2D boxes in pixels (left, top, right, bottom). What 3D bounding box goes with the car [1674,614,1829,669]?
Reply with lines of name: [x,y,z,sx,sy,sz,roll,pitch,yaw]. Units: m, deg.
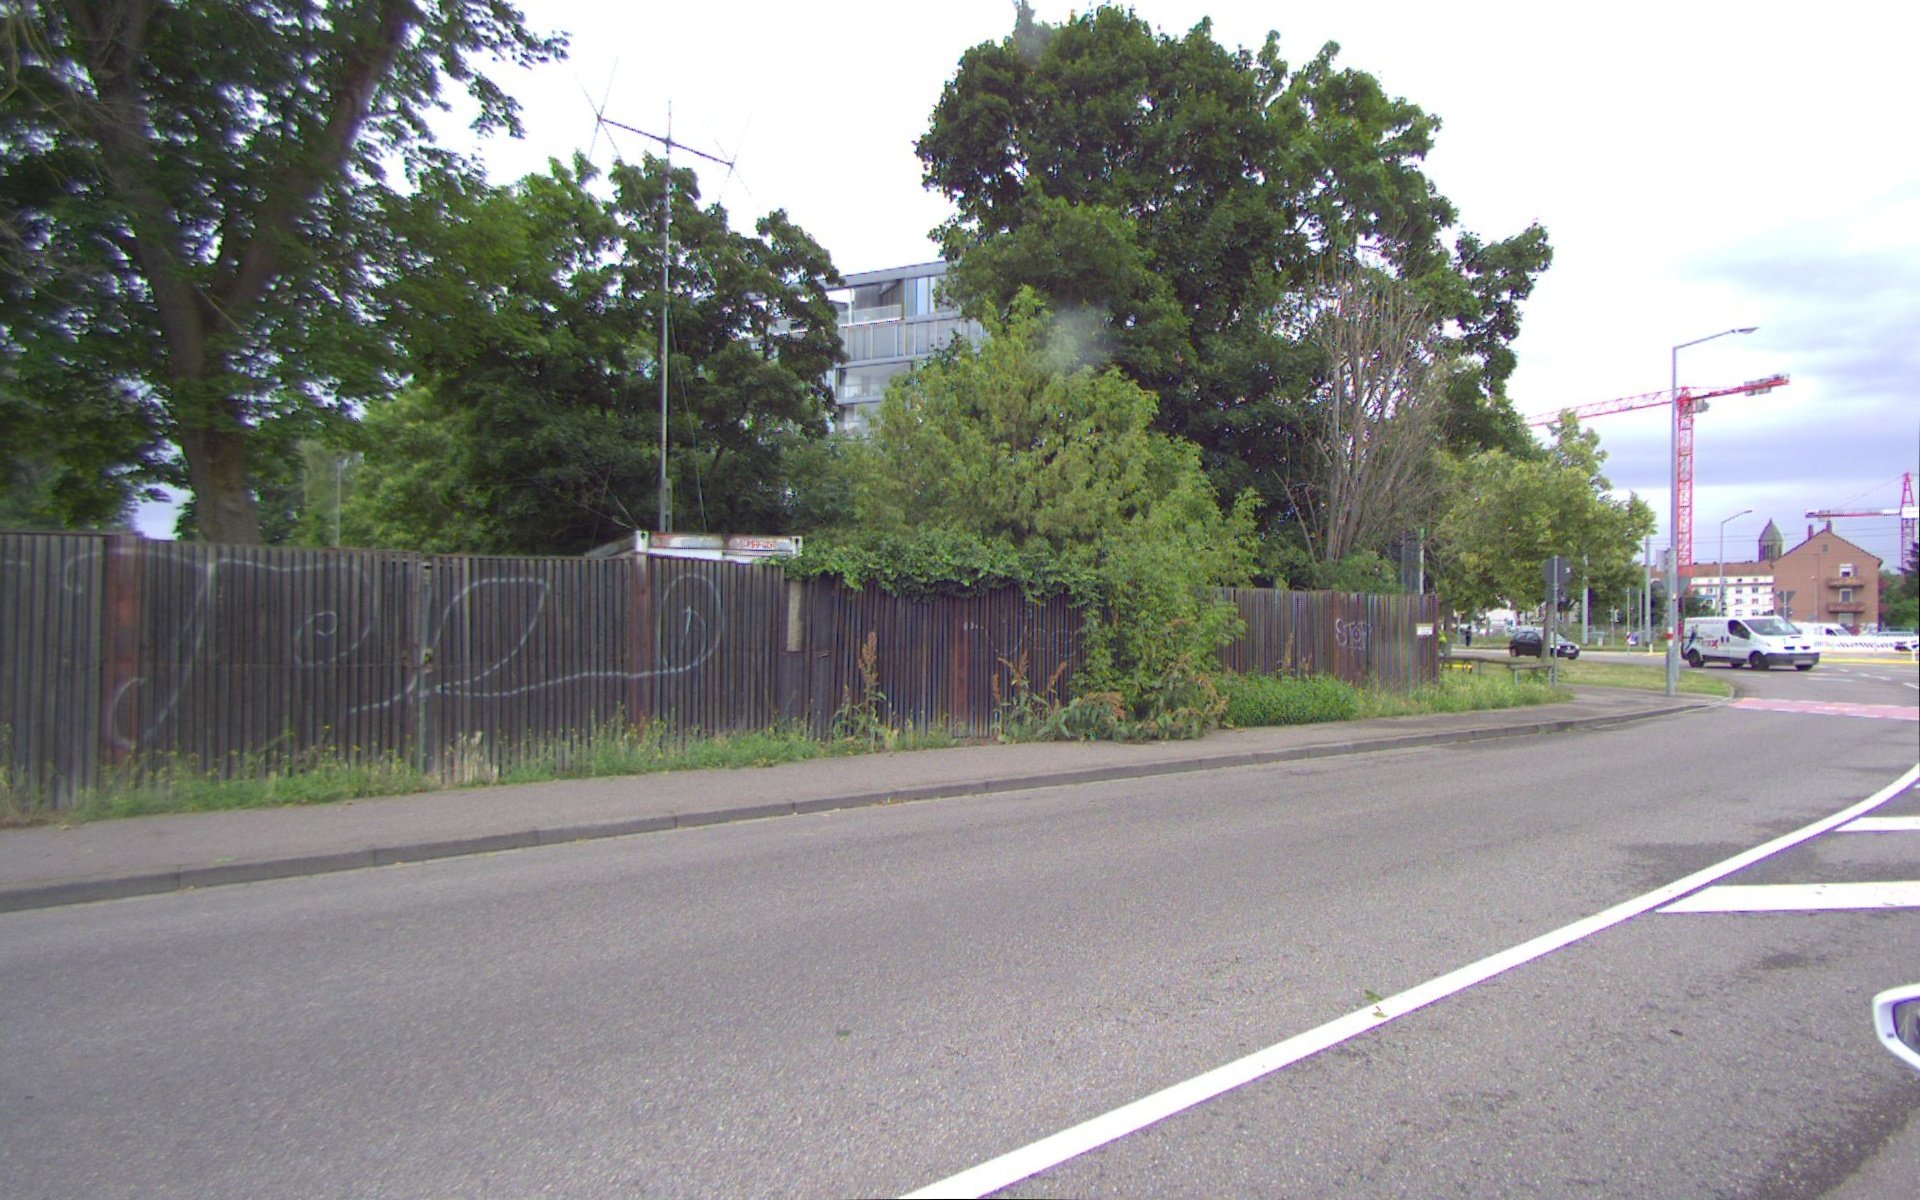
car: [29.755,1.513,38.014,2.057,1.925,4.849,0,-1,0]

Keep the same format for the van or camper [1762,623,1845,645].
van or camper: [82.727,3.290,98.655,1.969,2.040,6.171,1,-1,-19]

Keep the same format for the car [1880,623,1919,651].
car: [59.011,2.236,60.751,4.580,1.656,2.001,0,-1,10]

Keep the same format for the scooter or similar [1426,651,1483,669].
scooter or similar: [16.245,1.958,33.013,0.908,0.511,1.610,1,-1,-10]

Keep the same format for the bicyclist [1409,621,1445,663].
bicyclist: [16.069,1.442,34.603,0.604,1.420,1.062,1,-1,-13]

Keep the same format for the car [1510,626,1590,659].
car: [30.527,2.167,52.107,2.056,1.624,4.443,0,-1,8]

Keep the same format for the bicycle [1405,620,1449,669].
bicycle: [16.072,1.508,34.614,0.595,1.633,1.478,1,-1,-13]
